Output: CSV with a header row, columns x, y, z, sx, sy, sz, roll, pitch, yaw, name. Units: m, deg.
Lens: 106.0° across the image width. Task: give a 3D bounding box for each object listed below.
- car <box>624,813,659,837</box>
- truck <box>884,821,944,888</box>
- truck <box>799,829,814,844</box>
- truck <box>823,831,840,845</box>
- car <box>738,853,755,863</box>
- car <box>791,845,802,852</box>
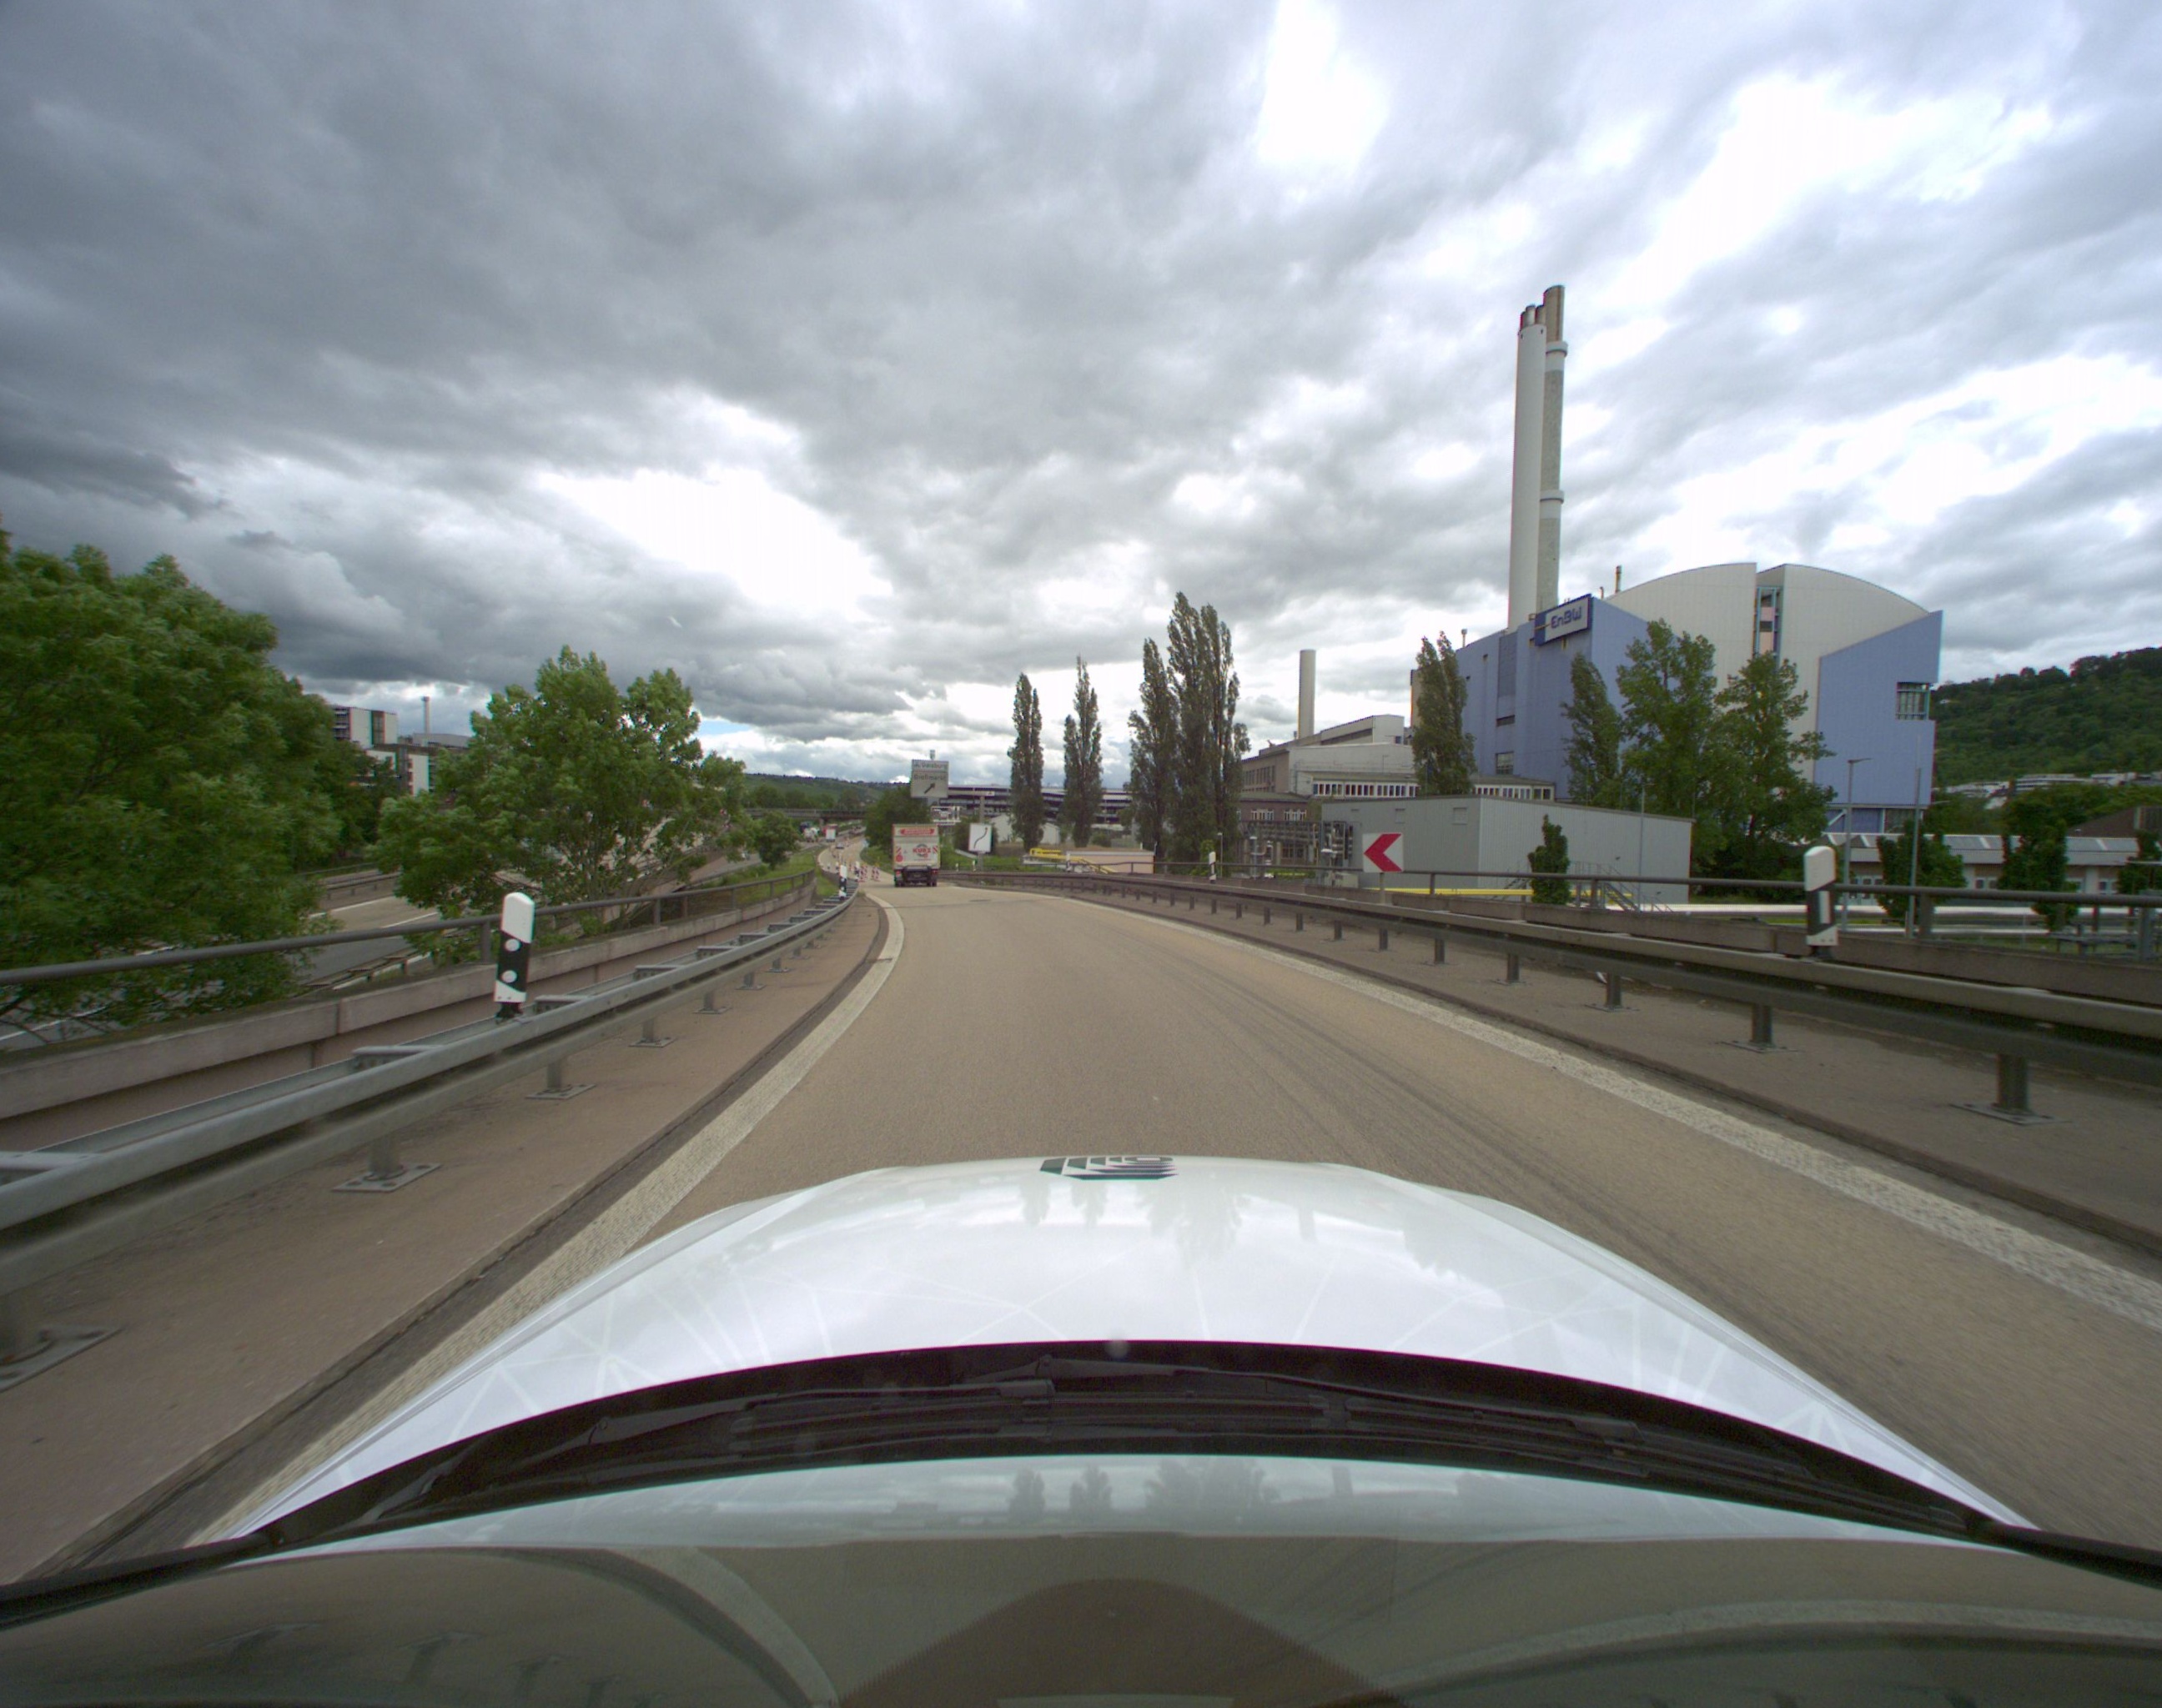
x,y,z,sx,sy,sz,roll,pitch,yaw,name
-36.983,-2.387,68.550,2.000,1.772,3.973,0,-1,-20,car
-10.157,0.066,48.891,3.056,3.673,7.887,1,-1,-15,truck
-71.811,-4.626,213.175,3.291,3.852,7.629,1,1,-14,truck
-67.066,-4.326,218.777,3.286,3.599,7.640,1,1,-10,truck
-56.355,0.645,137.314,1.996,1.617,3.981,1,2,-14,car
-66.728,-1.358,190.829,1.996,1.617,3.981,1,2,-14,car
